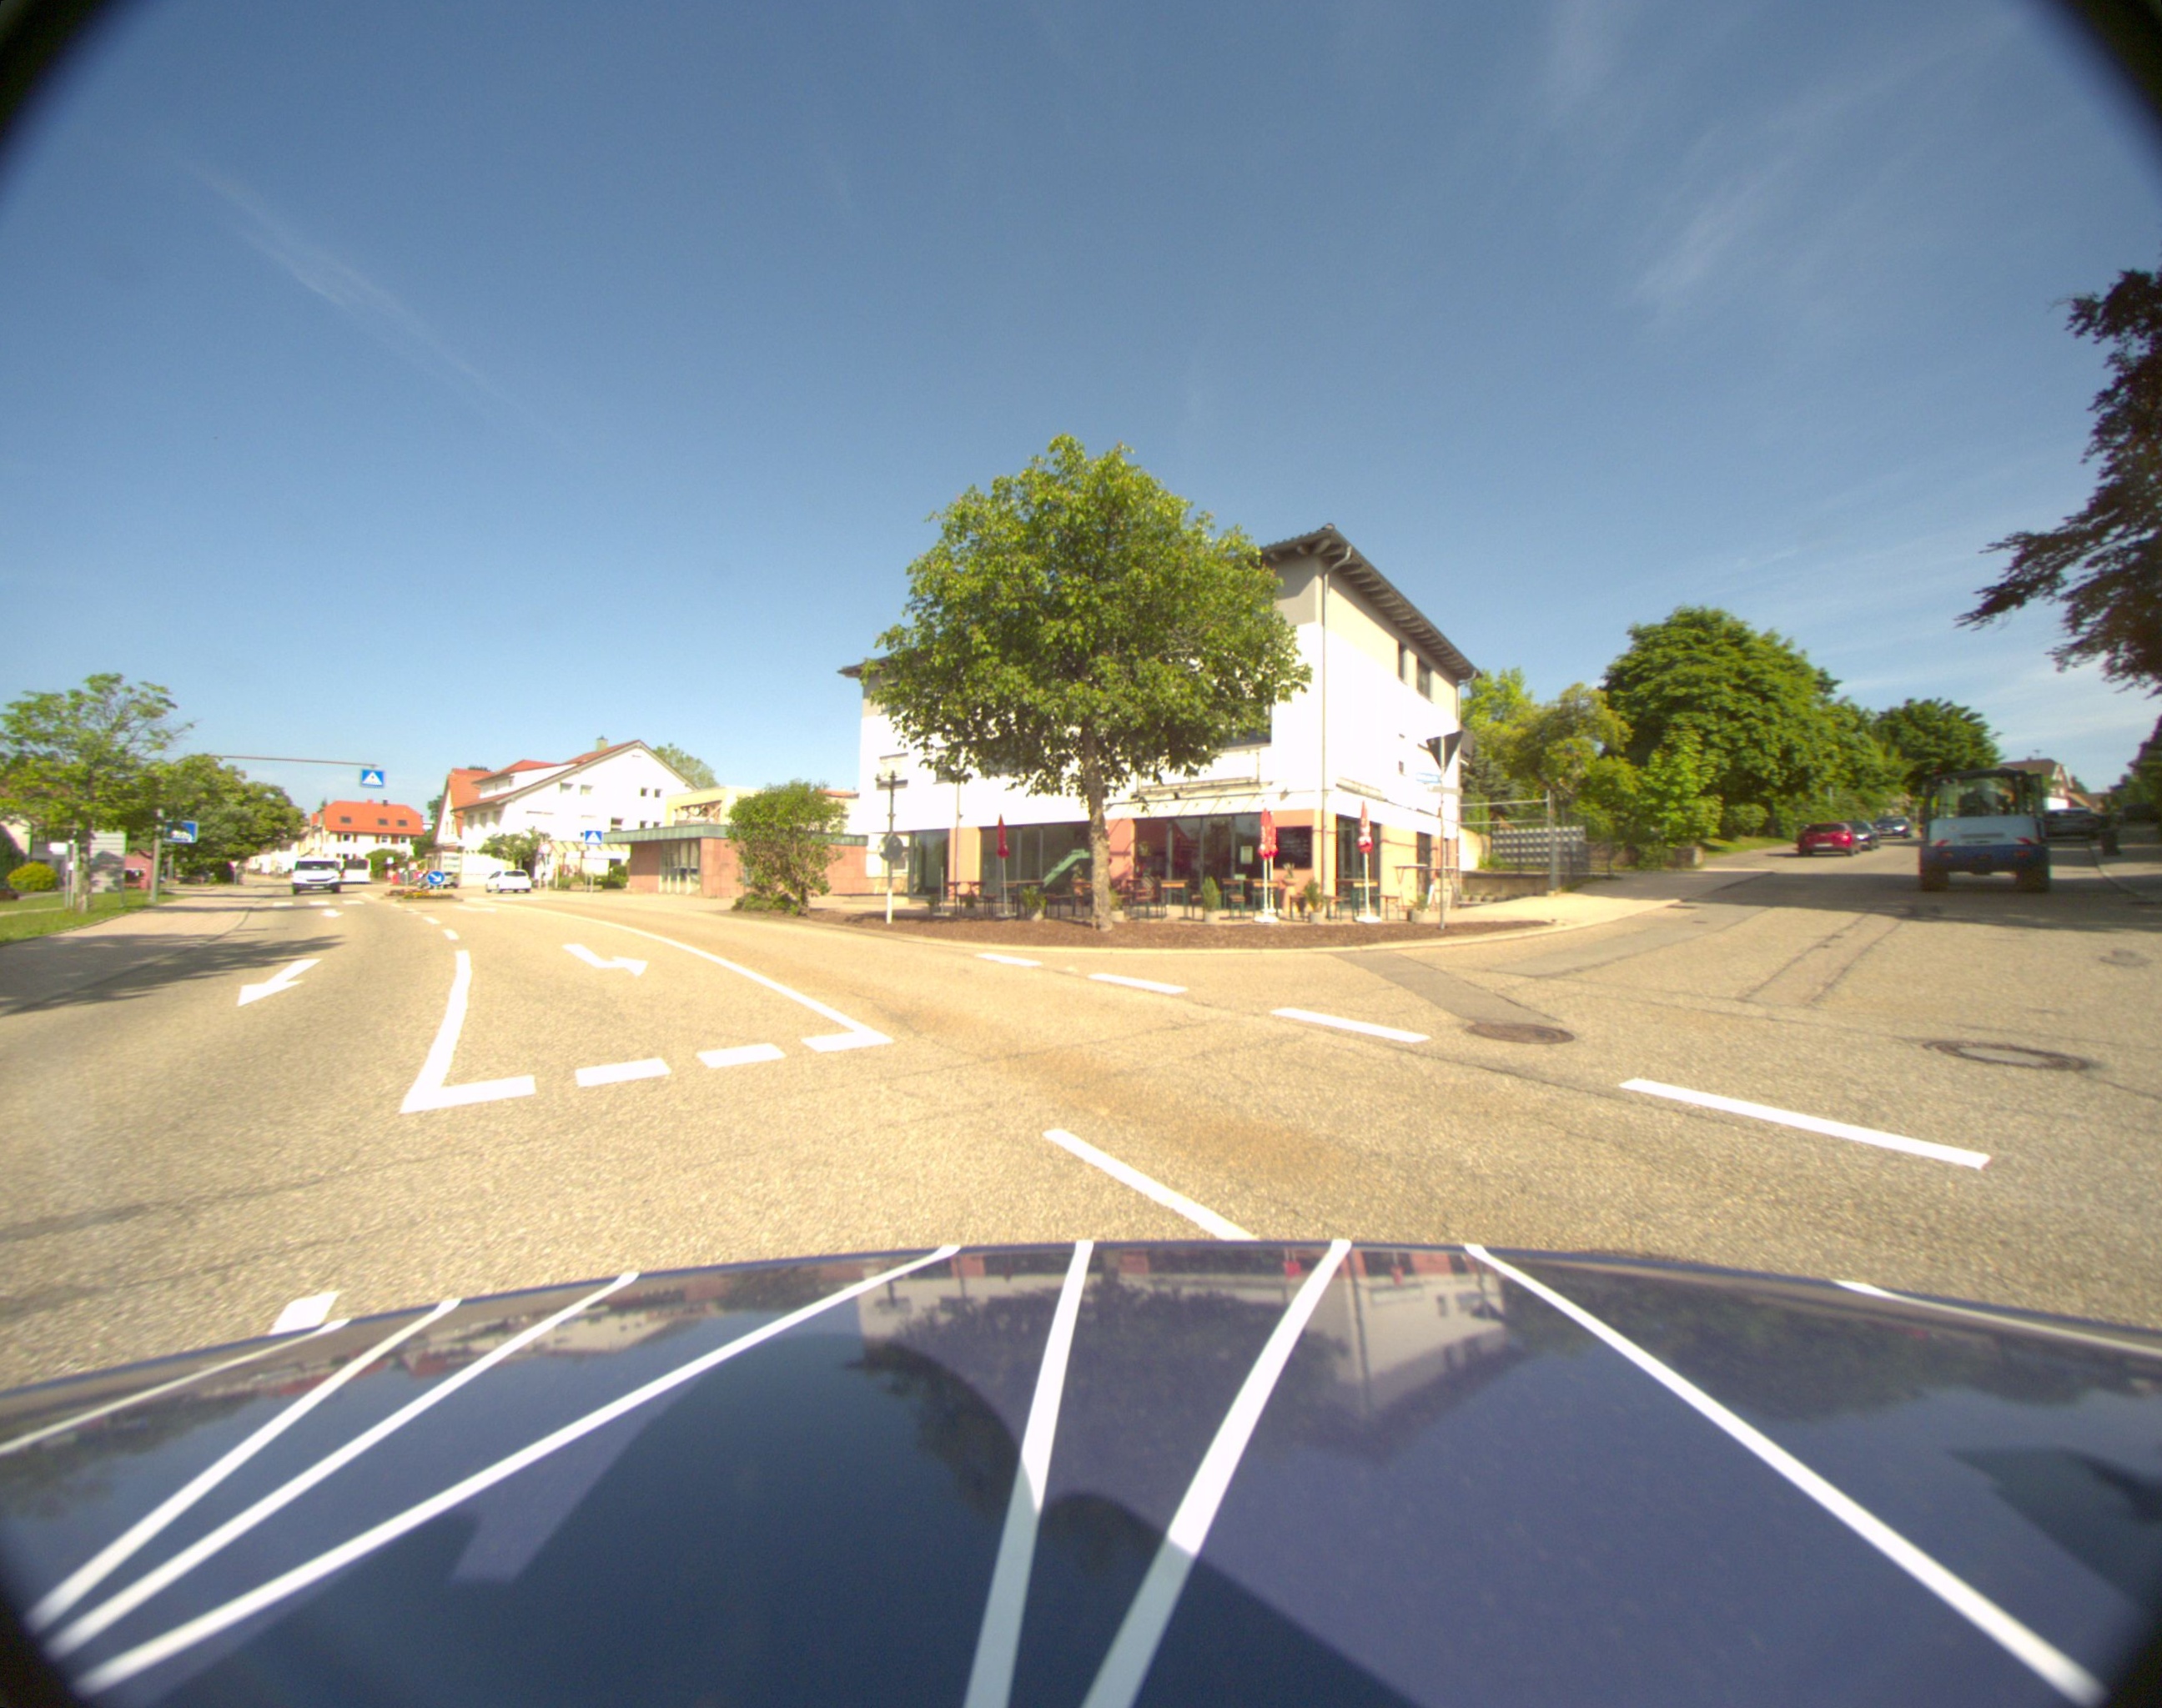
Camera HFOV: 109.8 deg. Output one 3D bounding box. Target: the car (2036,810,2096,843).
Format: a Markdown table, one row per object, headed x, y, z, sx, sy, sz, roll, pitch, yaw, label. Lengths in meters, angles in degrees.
| x | y | z | sx | sy | sz | roll | pitch | yaw | label |
| --- | --- | --- | --- | --- | --- | --- | --- | --- | --- |
| 49.988 | -1.402 | 38.611 | 3.817 | 1.592 | 1.804 | -3 | 1 | -38 | car |

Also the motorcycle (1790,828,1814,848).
| x | y | z | sx | sy | sz | roll | pitch | yaw | label |
| --- | --- | --- | --- | --- | --- | --- | --- | --- | --- |
| 43.074 | -0.970 | 45.386 | 2.192 | 1.175 | 0.783 | -3 | 2 | -40 | motorcycle |

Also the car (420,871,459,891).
| x | y | z | sx | sy | sz | roll | pitch | yaw | label |
| --- | --- | --- | --- | --- | --- | --- | --- | --- | --- |
| -49.880 | 2.074 | 59.074 | 3.703 | 1.425 | 1.779 | -1 | 1 | 42 | car |

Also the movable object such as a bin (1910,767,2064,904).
| x | y | z | sx | sy | sz | roll | pitch | yaw | label |
| --- | --- | --- | --- | --- | --- | --- | --- | --- | --- |
| 20.930 | -0.469 | 17.763 | 5.114 | 2.754 | 1.994 | -3 | 2 | -43 | movable object such as a bin |

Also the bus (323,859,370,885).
| x | y | z | sx | sy | sz | roll | pitch | yaw | label |
| --- | --- | --- | --- | --- | --- | --- | --- | --- | --- |
| -90.452 | 2.274 | 93.446 | 15.181 | 2.996 | 2.723 | -2 | -2 | 41 | bus |

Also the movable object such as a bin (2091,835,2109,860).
| x | y | z | sx | sy | sz | roll | pitch | yaw | label |
| --- | --- | --- | --- | --- | --- | --- | --- | --- | --- |
| 35.336 | -0.239 | 26.352 | 0.396 | 0.859 | 0.350 | -2 | 2 | -38 | movable object such as a bin |

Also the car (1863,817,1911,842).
| x | y | z | sx | sy | sz | roll | pitch | yaw | label |
| --- | --- | --- | --- | --- | --- | --- | --- | --- | --- |
| 51.956 | -1.584 | 48.960 | 3.817 | 1.462 | 1.771 | -3 | 1 | -38 | car |

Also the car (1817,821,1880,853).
| x | y | z | sx | sy | sz | roll | pitch | yaw | label |
| --- | --- | --- | --- | --- | --- | --- | --- | --- | --- |
| 37.602 | -0.841 | 37.209 | 3.817 | 1.462 | 1.771 | -3 | 1 | -38 | car |

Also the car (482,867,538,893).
| x | y | z | sx | sy | sz | roll | pitch | yaw | label |
| --- | --- | --- | --- | --- | --- | --- | --- | --- | --- |
| -35.585 | 1.592 | 47.306 | 3.703 | 1.459 | 1.779 | -1 | 1 | 37 | car |

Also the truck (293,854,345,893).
| x | y | z | sx | sy | sz | roll | pitch | yaw | label |
| --- | --- | --- | --- | --- | --- | --- | --- | --- | --- |
| -47.838 | 1.148 | 47.668 | 6.475 | 2.328 | 2.004 | 0 | 0 | 42 | truck |

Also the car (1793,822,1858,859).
| x | y | z | sx | sy | sz | roll | pitch | yaw | label |
| --- | --- | --- | --- | --- | --- | --- | --- | --- | --- |
| 33.121 | -0.606 | 33.780 | 3.817 | 1.489 | 1.620 | -3 | 1 | -38 | car |

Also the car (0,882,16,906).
| x | y | z | sx | sy | sz | roll | pitch | yaw | label |
| --- | --- | --- | --- | --- | --- | --- | --- | --- | --- |
| -67.557 | 2.503 | 46.759 | 3.703 | 1.425 | 1.779 | -1 | 2 | 43 | car |
